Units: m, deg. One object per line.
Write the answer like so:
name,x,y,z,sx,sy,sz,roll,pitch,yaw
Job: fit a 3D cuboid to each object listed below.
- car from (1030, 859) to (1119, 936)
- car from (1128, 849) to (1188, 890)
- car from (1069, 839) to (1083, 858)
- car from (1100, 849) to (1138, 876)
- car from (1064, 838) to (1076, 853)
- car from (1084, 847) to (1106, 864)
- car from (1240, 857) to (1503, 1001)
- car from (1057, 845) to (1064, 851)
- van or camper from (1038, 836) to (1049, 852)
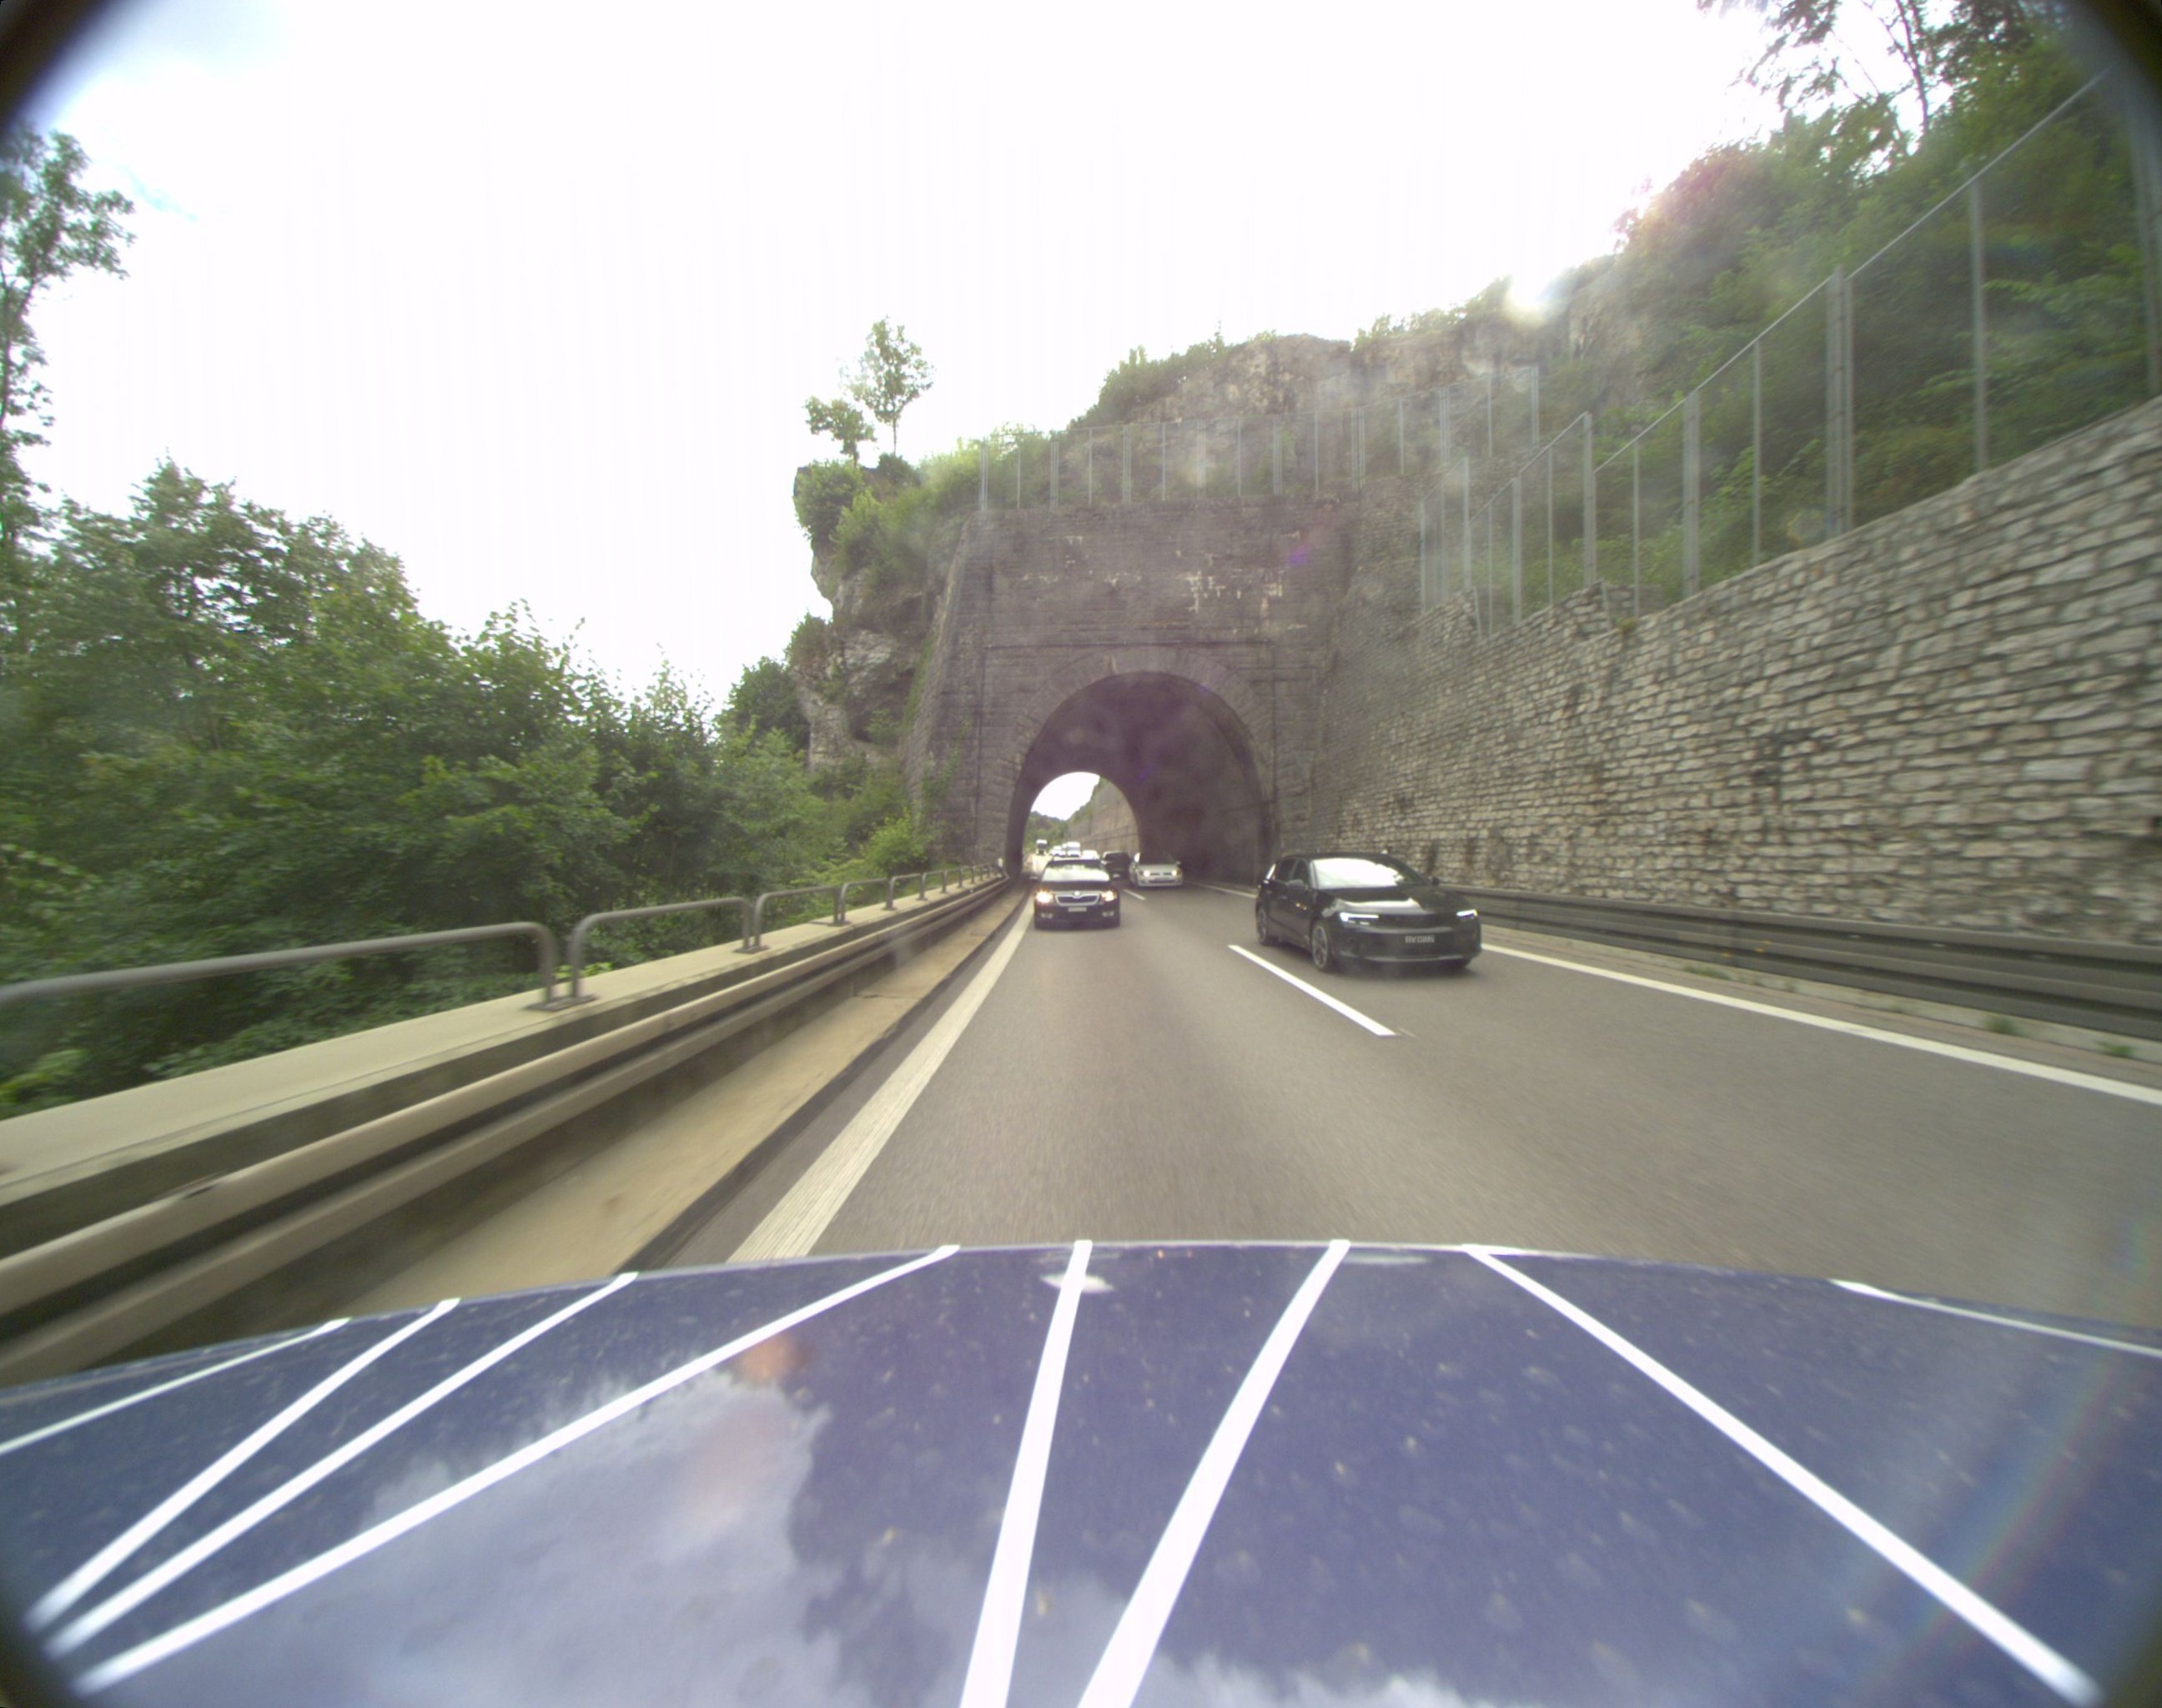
car,-0.128,0.868,17.031,1.677,1.418,4.473,-3,0,0
car,3.018,0.554,30.735,1.850,1.473,4.626,-2,1,-1
car,-0.738,-0.793,106.820,1.869,2.444,4.981,-3,2,-1
car,2.152,0.495,44.821,1.833,1.448,5.135,-3,0,-1
car,-1.880,-1.549,131.228,1.869,2.444,4.981,-3,2,-3
car,1.267,0.111,71.013,1.923,1.452,4.231,-3,0,0
car,3.602,0.810,10.447,1.778,1.452,4.581,-2,0,-1
car,-5.062,-1.464,187.310,1.651,1.310,4.067,-2,1,-5
van or camper,-9.989,-2.651,201.073,2.640,3.864,8.463,-2,1,-5
